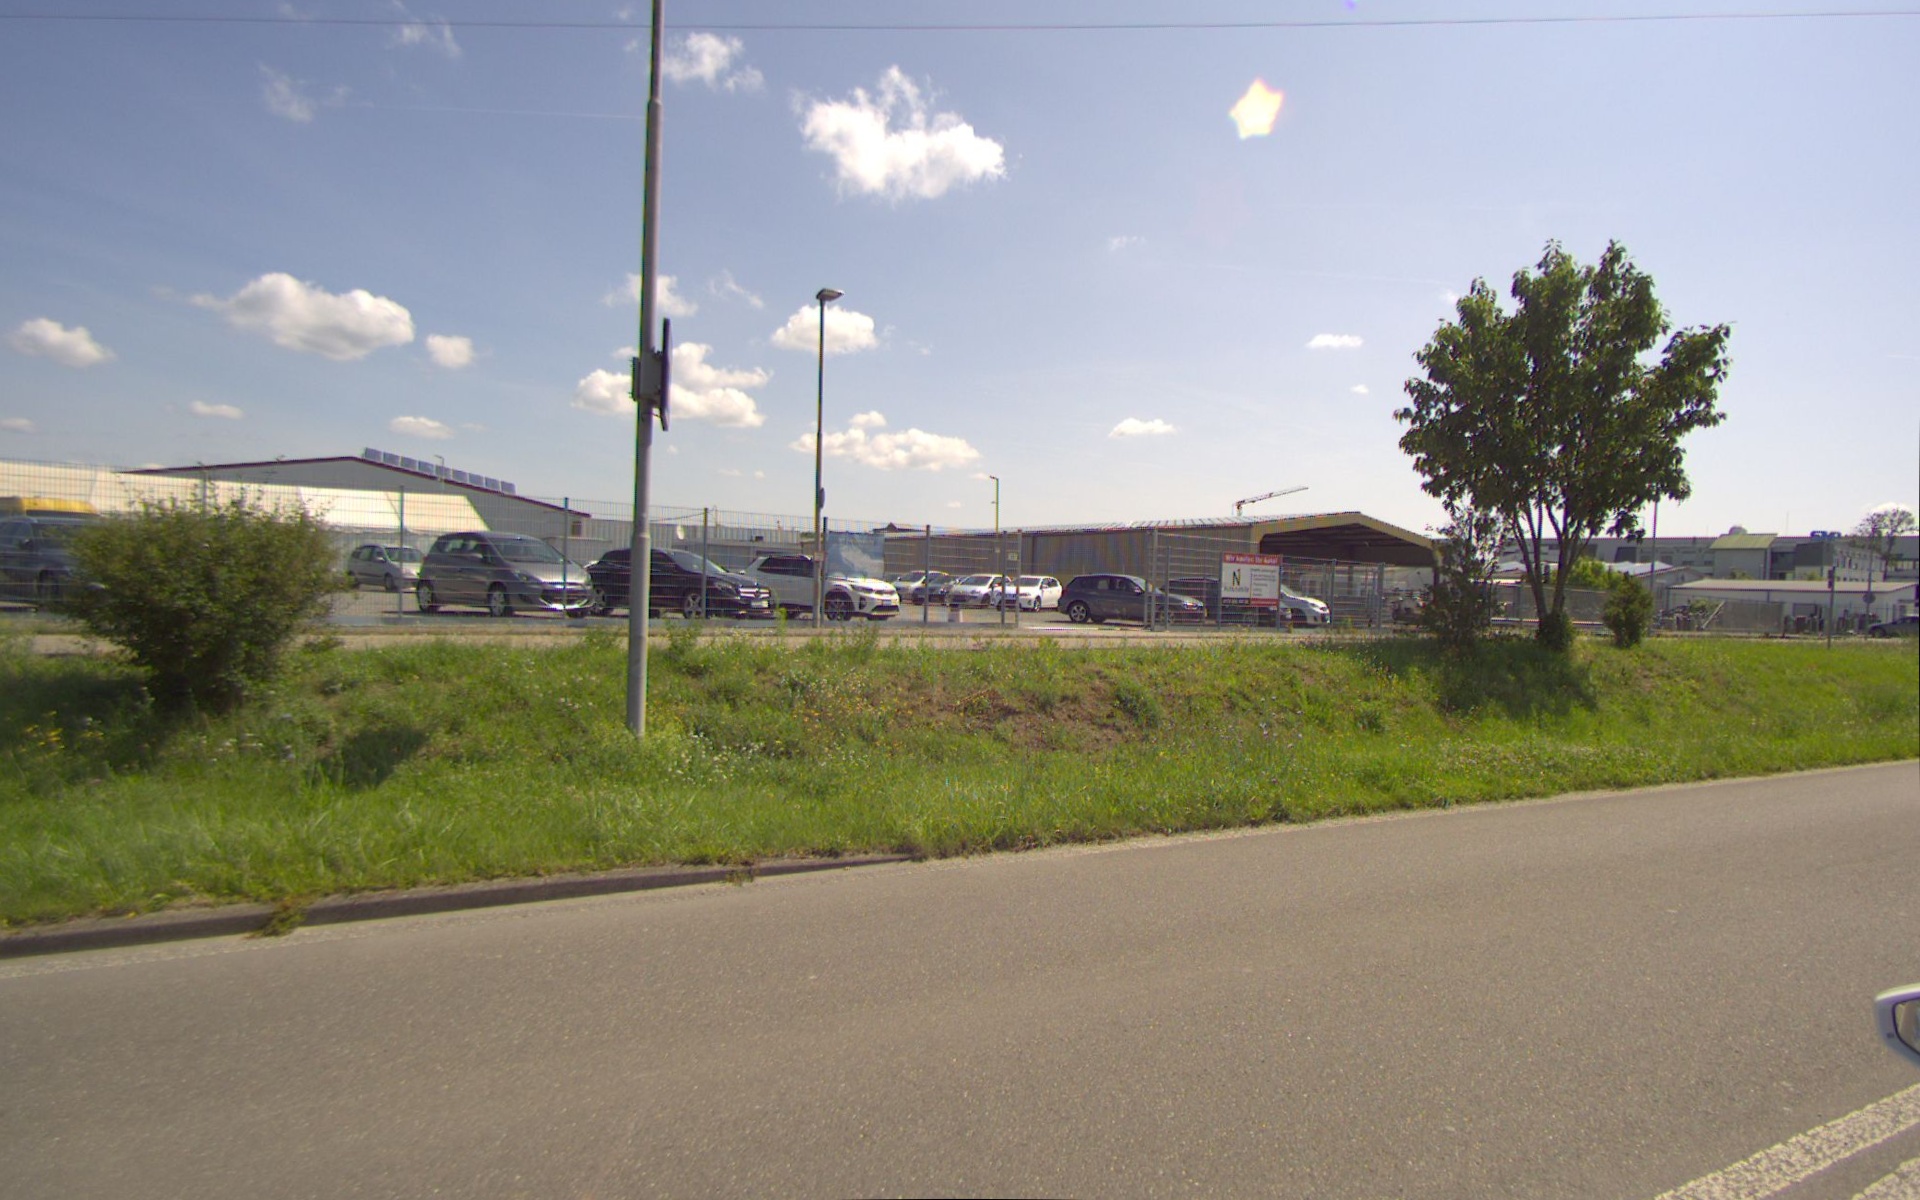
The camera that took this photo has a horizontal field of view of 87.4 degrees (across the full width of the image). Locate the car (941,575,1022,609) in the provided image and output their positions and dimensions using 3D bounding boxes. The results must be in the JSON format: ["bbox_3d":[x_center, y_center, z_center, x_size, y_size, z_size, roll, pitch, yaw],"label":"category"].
[{"bbox_3d":[0.982,-0.351,43.229,1.810,1.328,3.993,3,2,29],"label":"car"}]

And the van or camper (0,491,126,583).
[{"bbox_3d":[-26.226,-1.811,28.713,5.244,2.407,1.891,3,2,29],"label":"van or camper"}]

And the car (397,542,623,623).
[{"bbox_3d":[-8.569,-0.359,19.096,3.928,1.328,1.939,3,2,29],"label":"car"}]

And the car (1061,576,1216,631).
[{"bbox_3d":[5.087,0.072,28.711,3.928,1.328,1.939,3,2,29],"label":"car"}]

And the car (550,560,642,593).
[{"bbox_3d":[-18.294,-1.180,50.542,3.964,1.461,1.862,1,2,-38],"label":"car"}]

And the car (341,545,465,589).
[{"bbox_3d":[-19.127,-1.146,34.471,3.928,1.328,1.939,3,2,29],"label":"car"}]

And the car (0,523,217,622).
[{"bbox_3d":[-13.435,-0.454,15.322,3.928,1.328,1.939,3,2,29],"label":"car"}]

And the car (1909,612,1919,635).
[{"bbox_3d":[74.830,1.885,76.063,1.979,1.662,3.962,1,2,-34],"label":"car"}]

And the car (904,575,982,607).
[{"bbox_3d":[-0.735,-0.416,45.909,1.810,1.328,3.993,3,2,29],"label":"car"}]

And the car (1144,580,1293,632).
[{"bbox_3d":[7.735,0.145,30.058,3.928,1.328,1.939,3,2,29],"label":"car"}]

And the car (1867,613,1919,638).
[{"bbox_3d":[65.978,1.791,69.829,1.979,1.548,3.962,1,2,-34],"label":"car"}]

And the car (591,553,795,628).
[{"bbox_3d":[-5.616,-0.227,21.045,3.929,1.328,1.938,3,2,31],"label":"car"}]

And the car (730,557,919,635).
[{"bbox_3d":[-3.153,-0.138,23.265,3.928,1.561,1.939,3,2,29],"label":"car"}]

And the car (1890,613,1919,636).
[{"bbox_3d":[69.667,1.843,72.117,1.648,1.576,3.962,1,2,-34],"label":"car"}]

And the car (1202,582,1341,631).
[{"bbox_3d":[10.029,0.181,32.394,3.928,1.328,1.939,3,2,29],"label":"car"}]

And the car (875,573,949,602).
[{"bbox_3d":[-2.315,-0.607,49.510,1.810,1.328,3.993,3,2,29],"label":"car"}]

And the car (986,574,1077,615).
[{"bbox_3d":[2.980,-0.212,41.007,1.964,1.506,4.239,3,2,30],"label":"car"}]

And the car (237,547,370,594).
[{"bbox_3d":[-20.886,-0.939,31.938,3.928,1.328,1.939,3,2,29],"label":"car"}]
